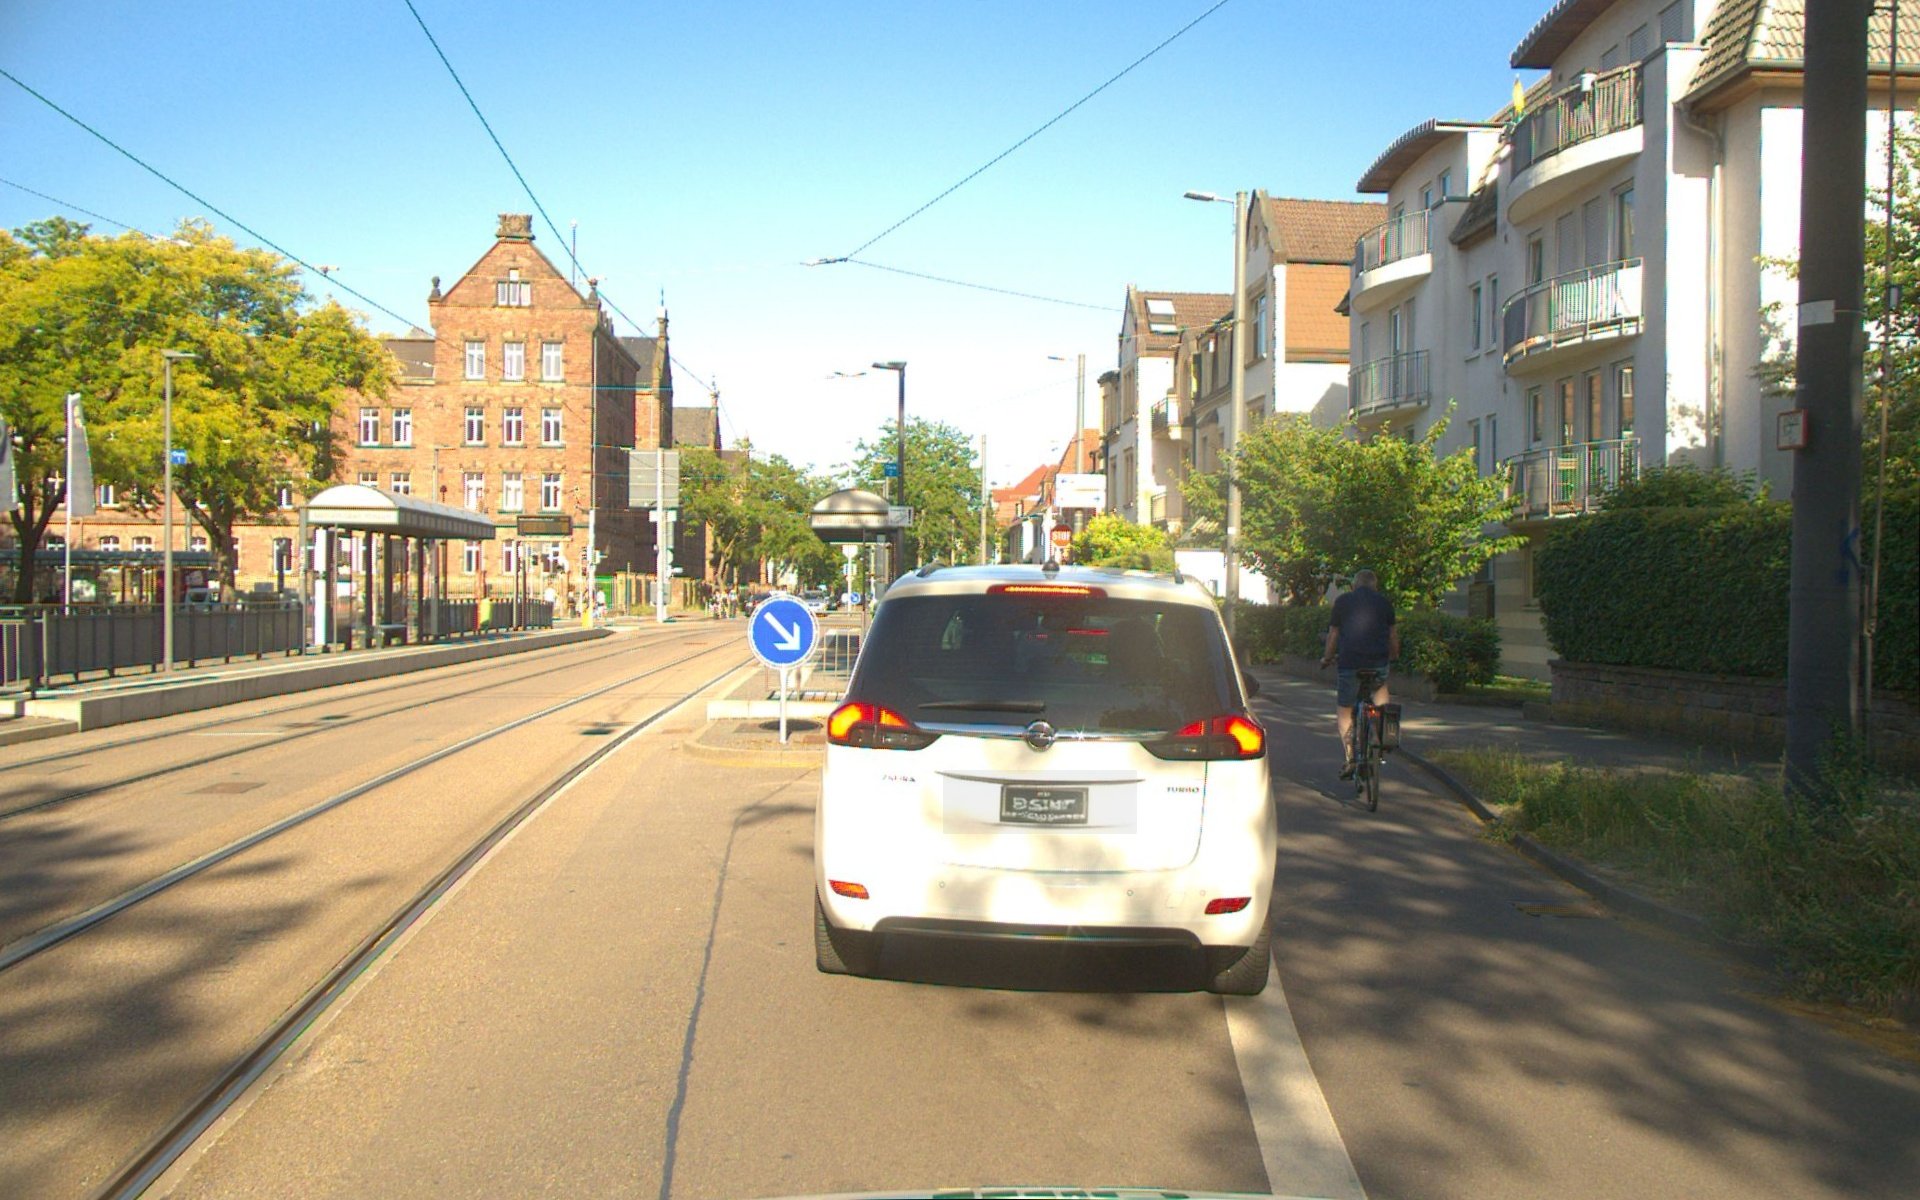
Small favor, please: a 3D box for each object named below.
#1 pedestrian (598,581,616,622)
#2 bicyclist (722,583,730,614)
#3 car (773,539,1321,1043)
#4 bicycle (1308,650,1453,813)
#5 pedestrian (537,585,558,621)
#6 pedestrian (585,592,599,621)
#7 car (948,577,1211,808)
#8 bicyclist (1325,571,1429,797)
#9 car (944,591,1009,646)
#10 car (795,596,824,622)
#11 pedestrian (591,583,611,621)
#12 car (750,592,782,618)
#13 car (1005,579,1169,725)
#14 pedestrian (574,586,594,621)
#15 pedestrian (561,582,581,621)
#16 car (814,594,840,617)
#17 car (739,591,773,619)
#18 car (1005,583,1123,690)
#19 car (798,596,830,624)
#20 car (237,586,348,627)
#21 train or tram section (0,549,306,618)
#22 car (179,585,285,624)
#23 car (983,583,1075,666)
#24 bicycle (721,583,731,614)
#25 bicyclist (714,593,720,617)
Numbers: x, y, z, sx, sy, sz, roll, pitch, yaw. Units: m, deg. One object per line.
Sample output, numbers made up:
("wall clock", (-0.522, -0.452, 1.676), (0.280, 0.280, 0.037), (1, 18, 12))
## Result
("pedestrian", (-18.081, 0.088, 84.694), (0.782, 2.049, 0.717), (1, -1, -18))
("bicyclist", (-15.390, -0.099, 108.802), (0.488, 2.049, 0.572), (0, 0, -1))
("car", (0.504, 0.631, 7.646), (1.866, 1.690, 4.003), (0, 0, 6))
("bicycle", (3.253, 0.982, 12.962), (0.611, 1.116, 1.973), (0, 0, -1))
("pedestrian", (-22.105, 0.156, 88.677), (0.791, 1.934, 0.744), (1, -1, 13))
("pedestrian", (-21.132, 0.369, 94.990), (0.640, 1.640, 0.711), (1, -1, 1))
("car", (1.065, 0.646, 13.776), (1.866, 1.625, 4.003), (0, 0, 6))
("bicyclist", (3.252, 0.636, 12.948), (0.603, 1.716, 0.779), (0, 0, -1))
("car", (0.502, 0.553, 53.083), (1.869, 1.690, 3.998), (0, 0, -2))
("car", (-10.466, 0.596, 115.045), (1.711, 1.746, 3.999), (1, 0, -1))
("pedestrian", (-19.254, 0.112, 88.670), (0.789, 2.049, 0.711), (1, -1, -38))
("car", (-13.302, 0.356, 113.500), (1.711, 1.746, 3.999), (1, 0, -1))
("car", (1.678, 0.586, 21.008), (1.866, 1.653, 4.003), (0, 0, 6))
("pedestrian", (-21.012, 0.177, 92.443), (0.791, 1.934, 0.744), (1, -1, 18))
("pedestrian", (-20.708, 0.084, 88.026), (0.788, 2.049, 0.712), (1, -1, -34))
("car", (-10.351, 0.441, 128.901), (1.711, 1.746, 3.999), (1, 0, -1))
("car", (-13.157, 0.296, 106.836), (1.711, 1.746, 3.999), (1, 0, -1))
("car", (1.787, 0.575, 28.288), (1.867, 1.690, 4.002), (0, 0, 4))
("car", (-9.449, 0.619, 107.204), (1.711, 1.746, 3.999), (1, 0, -1))
("car", (-28.115, 0.267, 69.749), (3.908, 1.658, 1.817), (1, 0, -4))
("train or tram section", (-40.747, -0.762, 79.425), (17.048, 3.210, 3.343), (0, 0, -6))
("car", (-32.446, 0.220, 73.823), (3.908, 1.658, 1.817), (1, 0, -4))
("car", (1.445, 0.502, 36.121), (1.868, 1.690, 4.000), (0, 0, 0))
("bicycle", (-15.386, -0.099, 108.797), (0.477, 2.049, 1.405), (0, 0, -1))
("bicyclist", (-15.102, 0.289, 102.804), (0.307, 1.469, 0.384), (0, 0, -1))
